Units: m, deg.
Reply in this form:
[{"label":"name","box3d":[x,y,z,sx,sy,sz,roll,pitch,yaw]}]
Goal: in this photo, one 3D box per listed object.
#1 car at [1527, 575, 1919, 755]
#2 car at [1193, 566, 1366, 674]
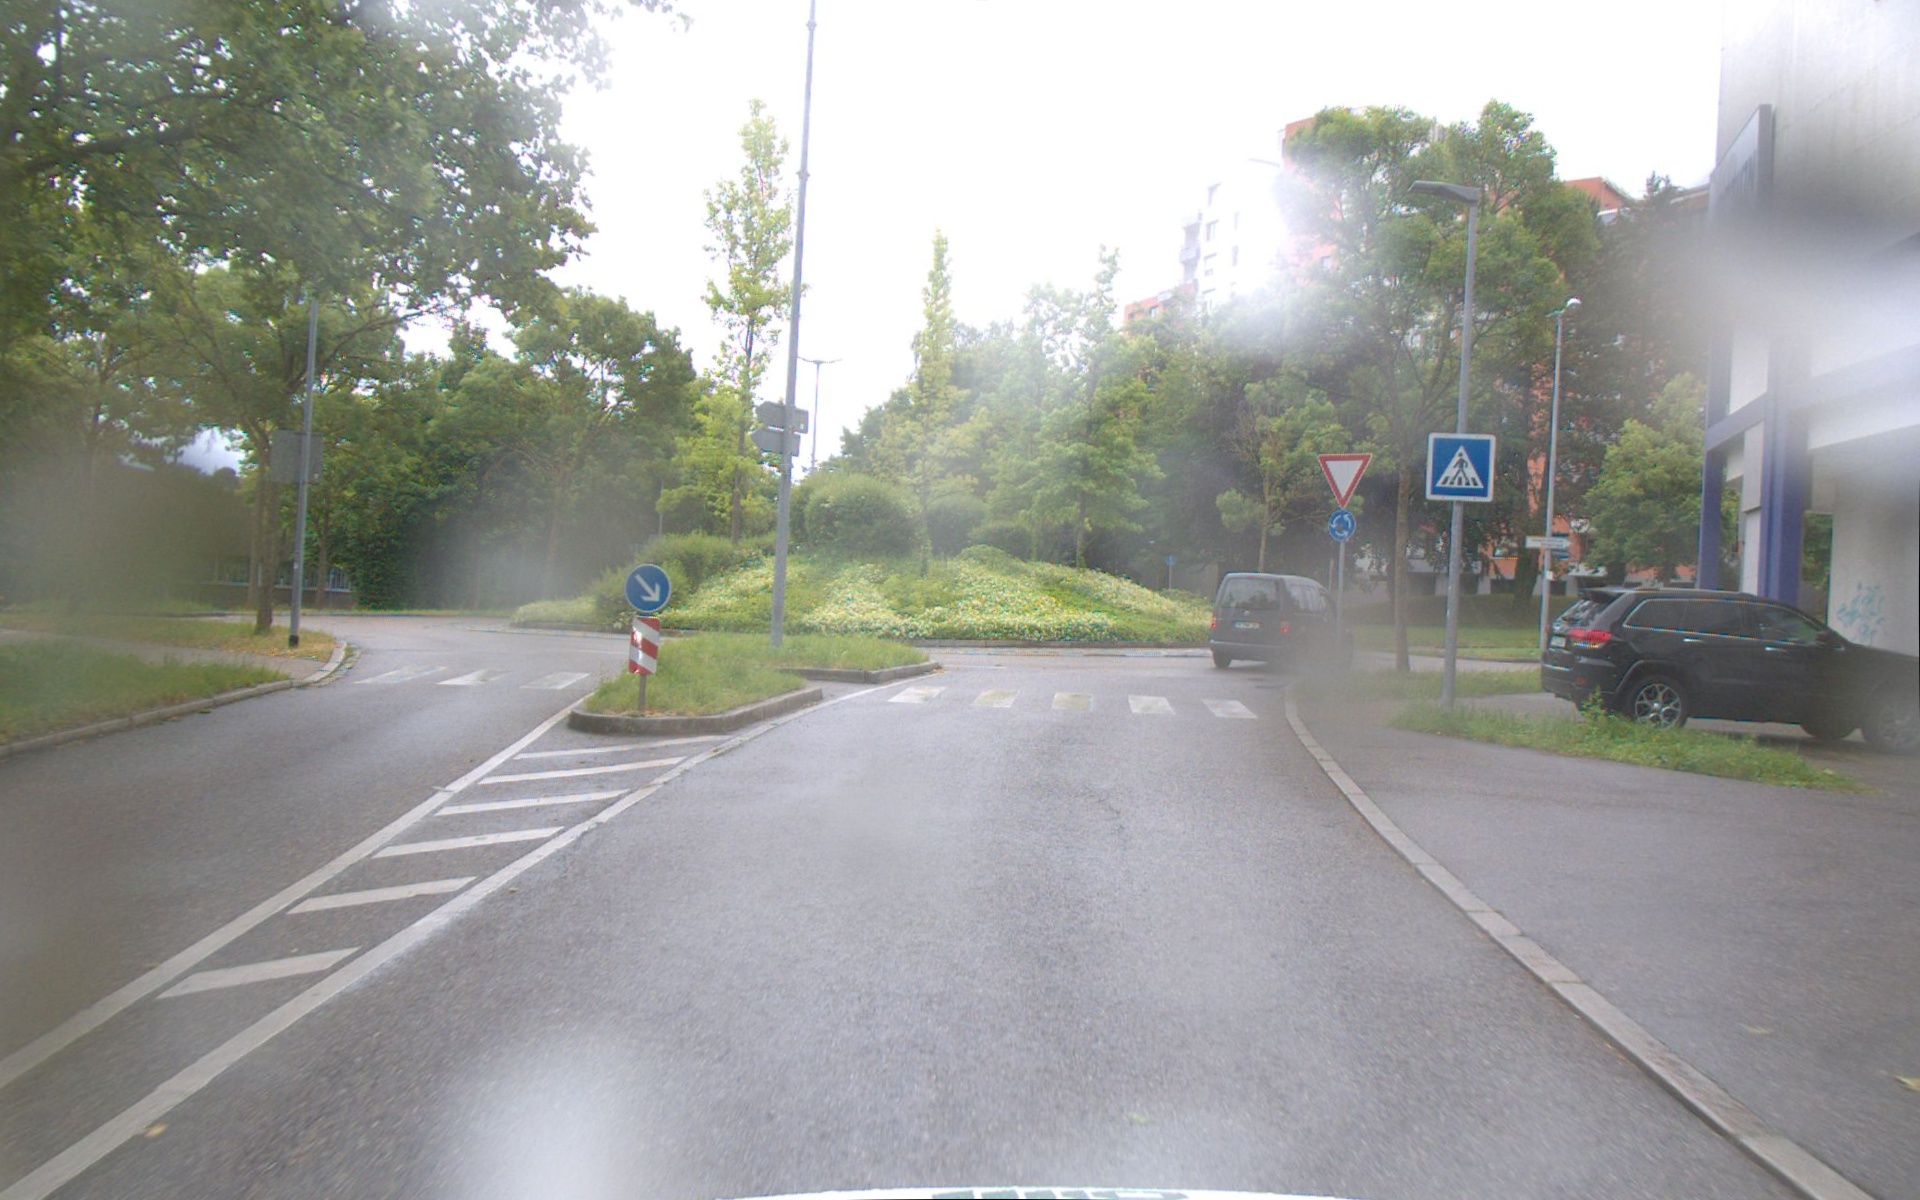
[{"label":"car","box3d":[9.445,0.751,20.234,4.288,1.789,1.830,4,2,1]},{"label":"car","box3d":[6.326,0.334,32.466,1.887,1.832,3.776,4,4,36]}]
